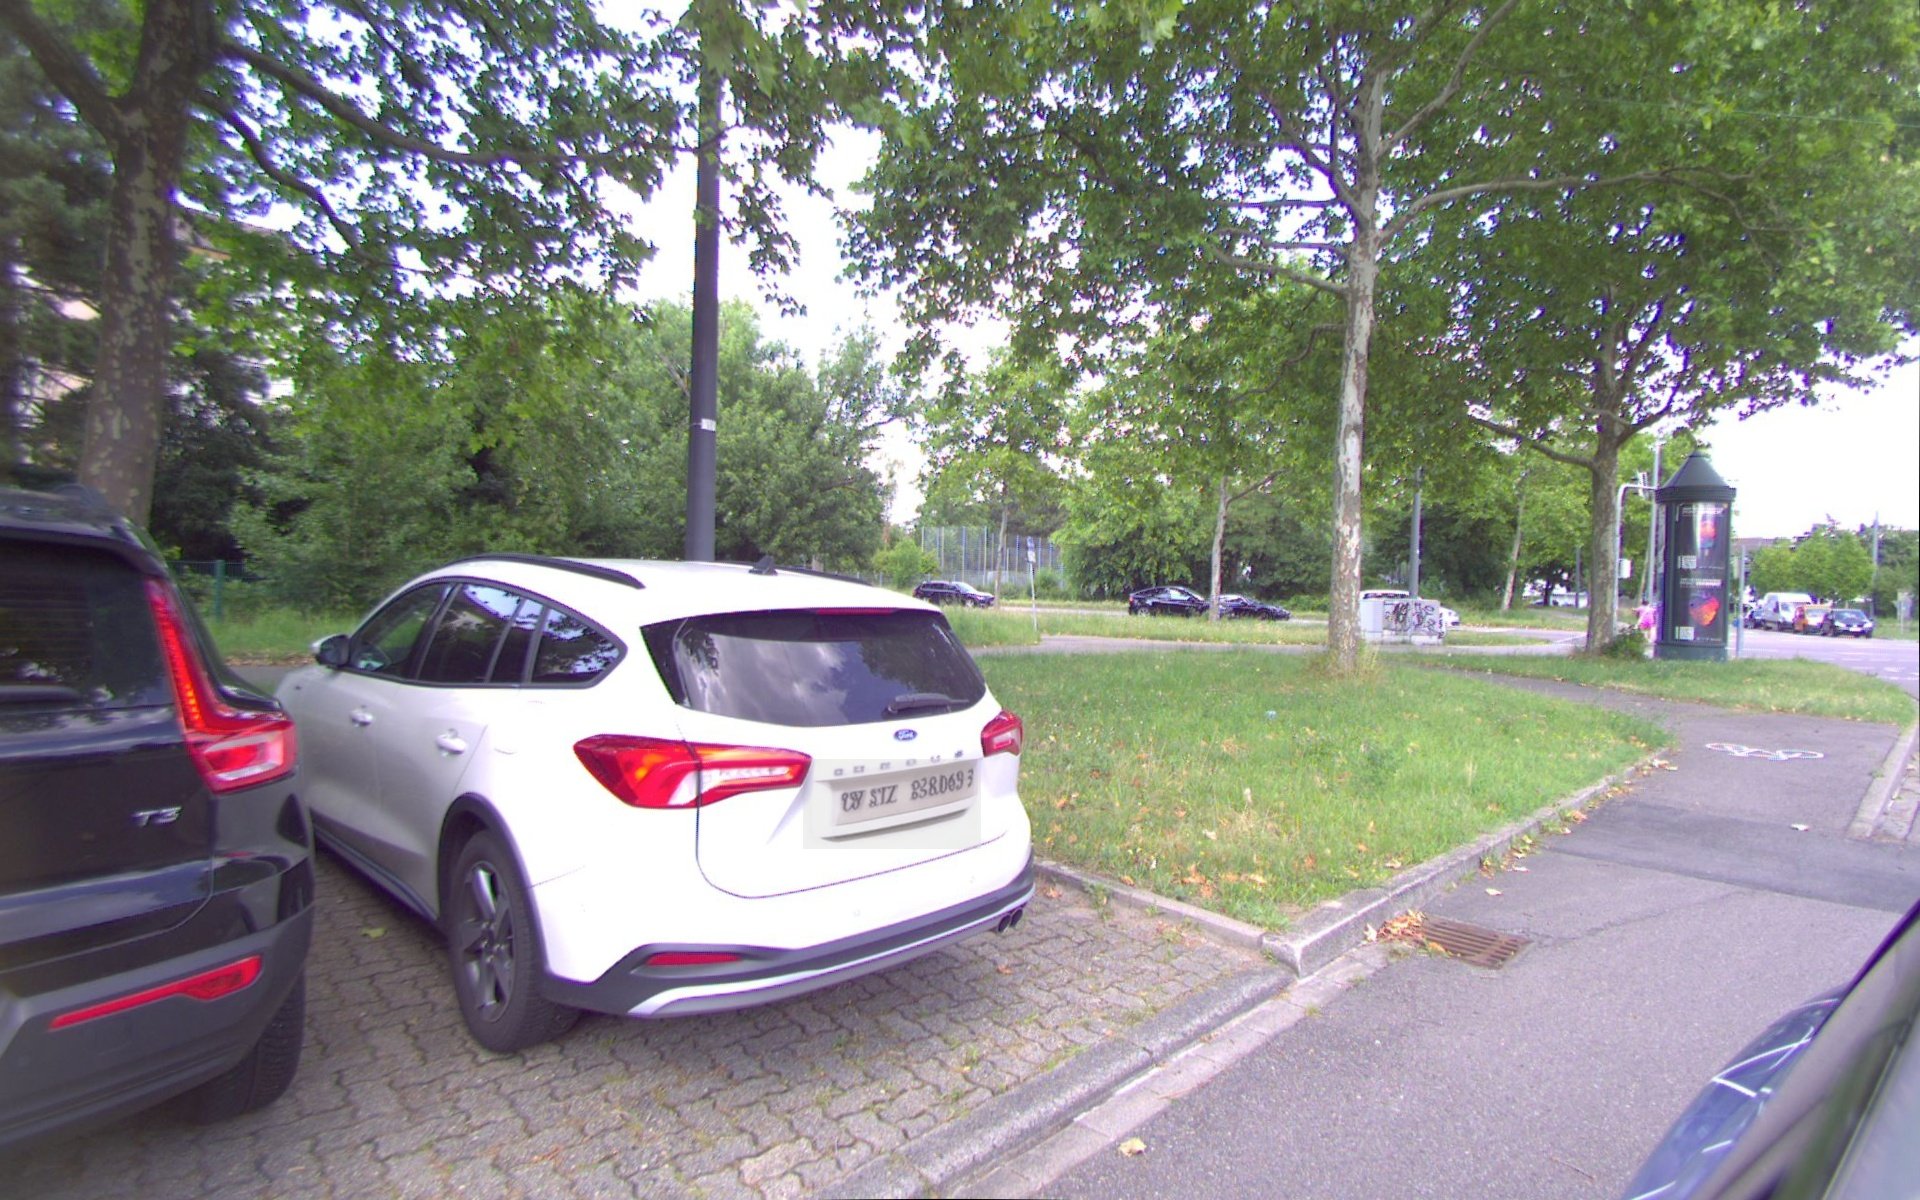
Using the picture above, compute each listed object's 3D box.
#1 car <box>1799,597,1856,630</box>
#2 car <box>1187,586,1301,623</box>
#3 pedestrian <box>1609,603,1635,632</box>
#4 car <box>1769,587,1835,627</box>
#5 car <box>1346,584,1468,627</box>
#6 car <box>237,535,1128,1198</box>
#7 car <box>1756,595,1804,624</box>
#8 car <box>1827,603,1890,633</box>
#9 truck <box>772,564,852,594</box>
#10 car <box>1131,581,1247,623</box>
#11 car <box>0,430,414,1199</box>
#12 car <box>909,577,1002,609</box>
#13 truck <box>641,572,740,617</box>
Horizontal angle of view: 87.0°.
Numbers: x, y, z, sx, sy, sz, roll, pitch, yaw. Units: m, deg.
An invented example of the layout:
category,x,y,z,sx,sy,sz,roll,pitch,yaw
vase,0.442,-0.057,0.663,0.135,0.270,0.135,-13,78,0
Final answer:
category,x,y,z,sx,sy,sz,roll,pitch,yaw
car,53.161,0.795,62.093,1.780,1.959,4.325,1,1,29
car,13.052,0.152,46.561,4.706,1.487,1.981,2,2,28
pedestrian,25.085,0.654,38.344,0.719,1.047,0.889,2,1,38
car,56.294,0.441,67.767,2.219,2.538,5.670,1,1,28
car,19.252,0.184,43.610,4.644,1.630,1.981,2,2,28
car,-1.706,0.510,4.601,4.661,1.492,1.818,4,2,45
car,58.931,0.649,72.795,1.780,1.959,4.326,1,1,28
car,50.329,0.971,56.755,1.781,1.558,3.959,1,1,29
truck,-10.989,-1.580,75.186,5.813,2.038,2.266,2,1,33
car,10.058,0.049,44.534,4.645,1.630,1.980,2,2,29
car,-3.447,0.425,3.125,4.661,1.646,1.818,4,2,45
car,-0.242,-0.414,54.427,4.644,1.532,1.981,2,2,28
truck,-17.432,-0.397,65.331,6.452,2.628,2.194,2,1,29
